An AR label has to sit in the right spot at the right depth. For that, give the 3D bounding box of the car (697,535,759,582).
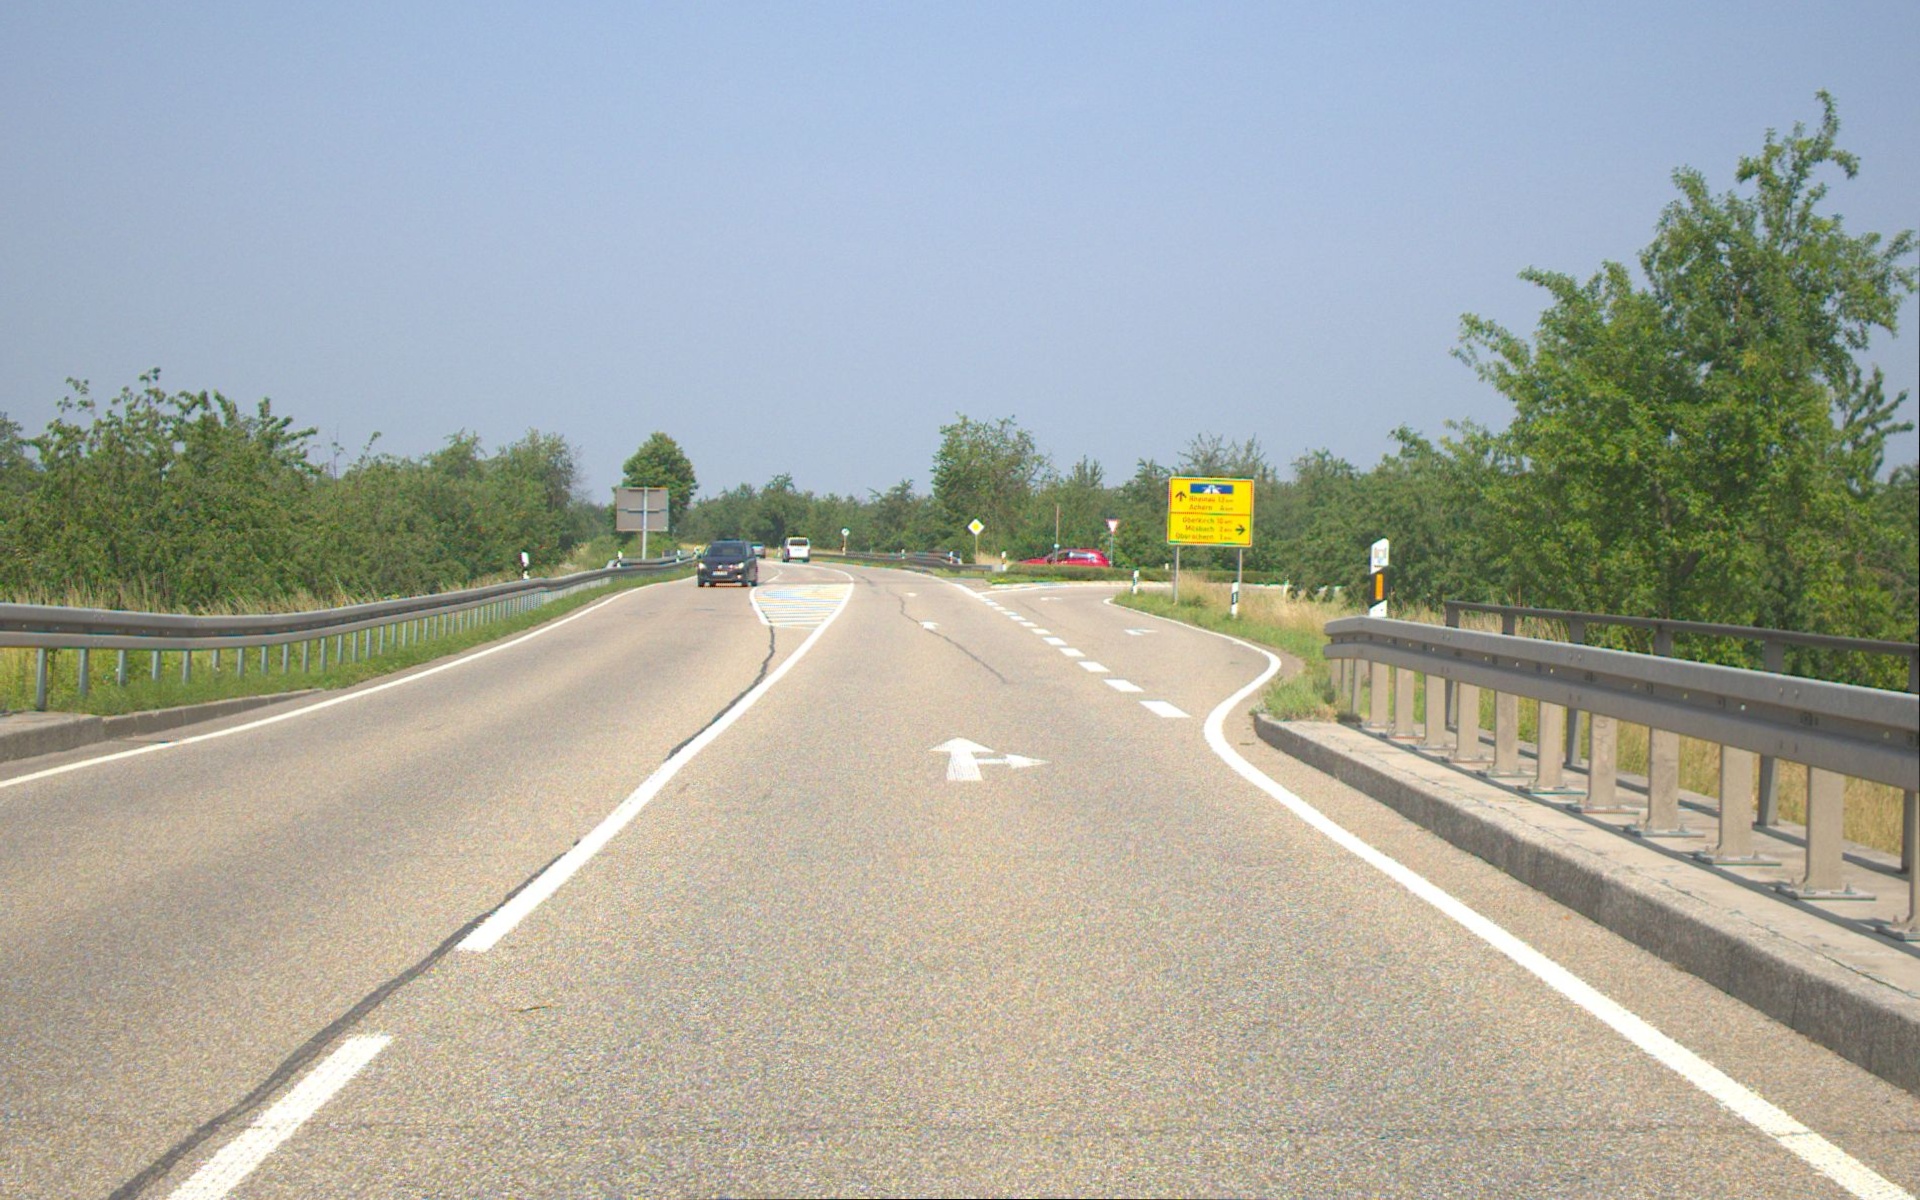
[{"bbox_3d":[-8.204,-1.472,122.097,1.803,1.632,4.809,0,1,1],"label":"car"}]

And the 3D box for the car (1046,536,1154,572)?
[{"bbox_3d":[5.838,-1.923,143.413,4.481,1.444,1.821,0,1,3],"label":"car"}]
